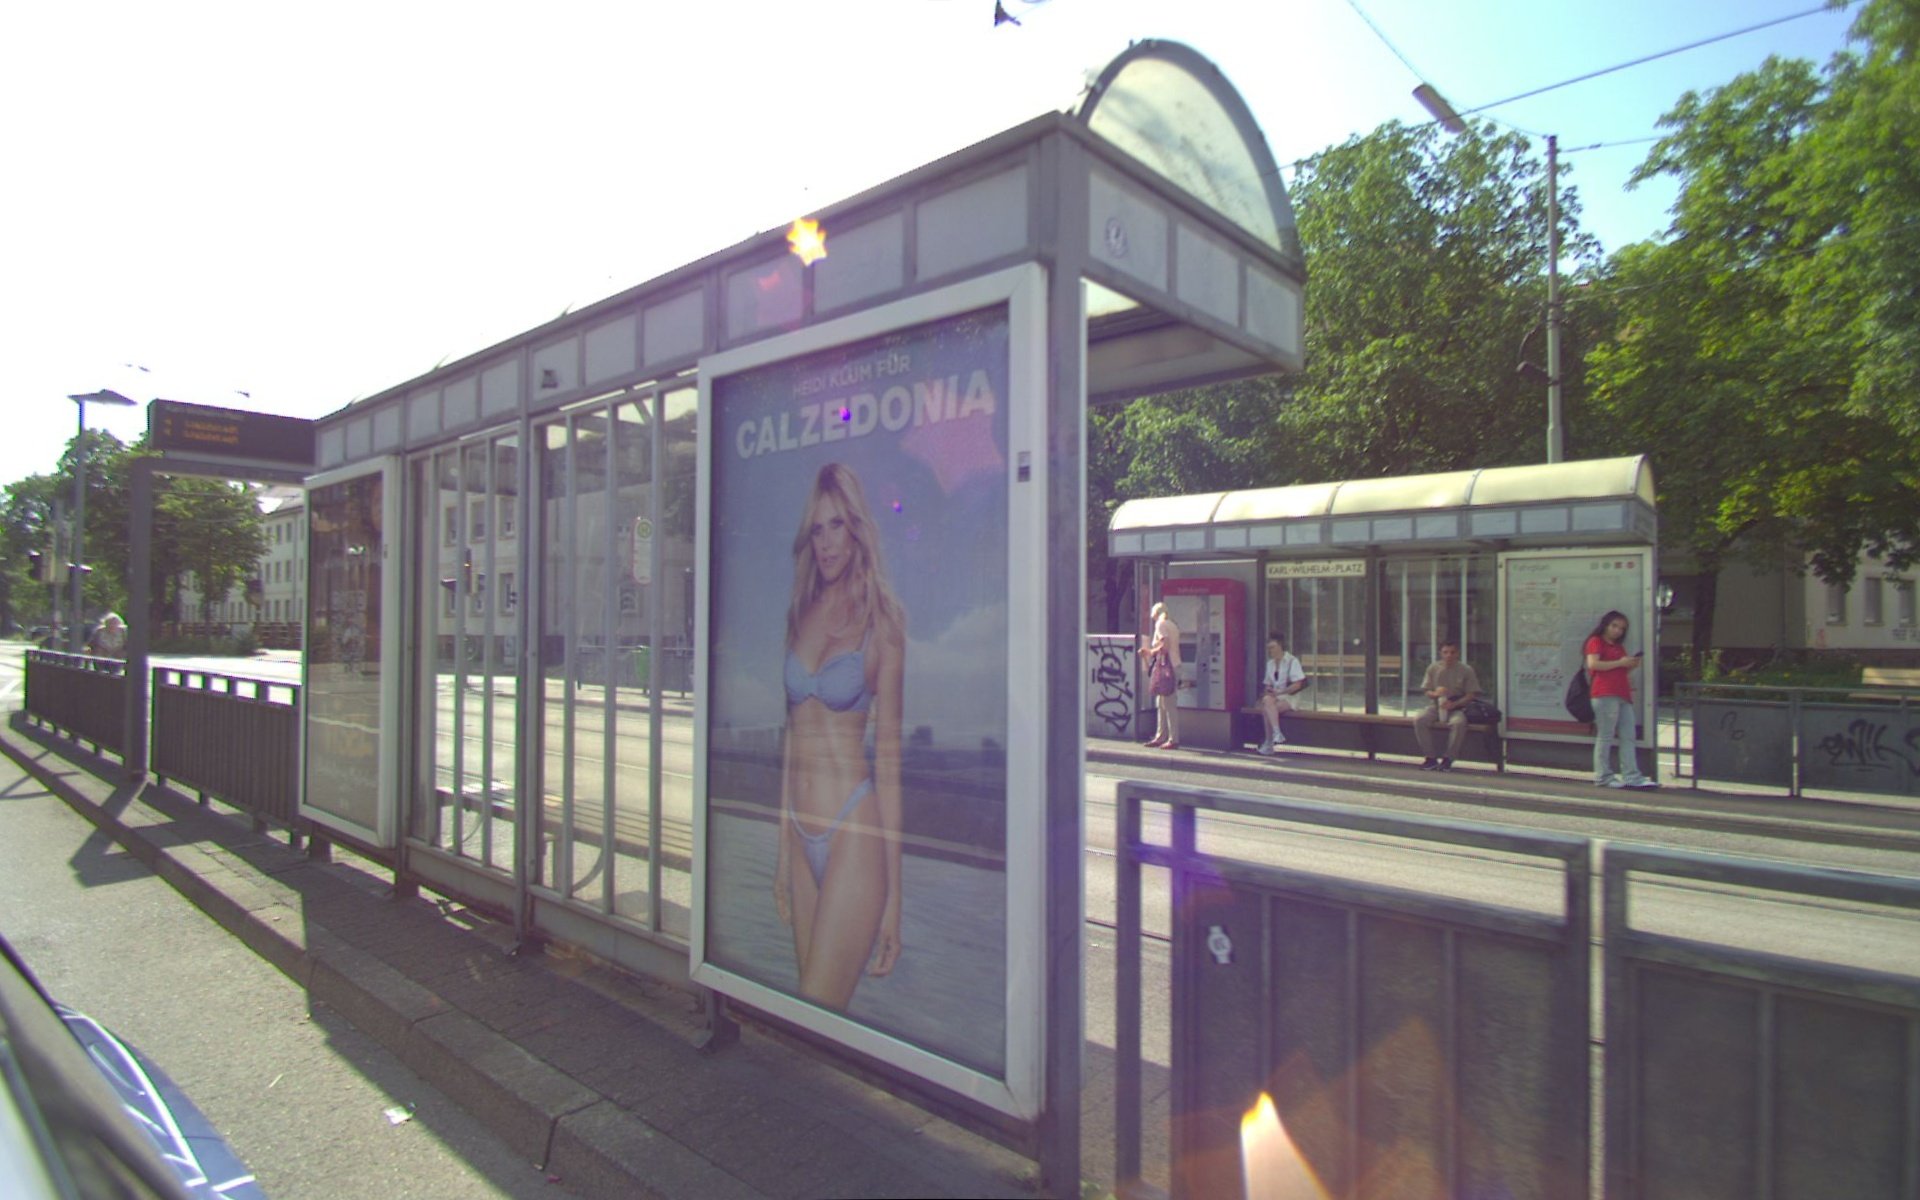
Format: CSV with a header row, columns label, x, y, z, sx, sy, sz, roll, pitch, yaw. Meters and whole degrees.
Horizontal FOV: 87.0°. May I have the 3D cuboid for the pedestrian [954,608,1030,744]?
label,x,y,z,sx,sy,sz,roll,pitch,yaw
pedestrian,0.400,0.931,12.523,0.637,1.619,0.650,0,-4,36

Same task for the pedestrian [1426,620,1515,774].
label,x,y,z,sx,sy,sz,roll,pitch,yaw
pedestrian,5.114,0.947,10.142,0.691,1.468,0.523,-1,-4,40

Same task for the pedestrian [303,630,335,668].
label,x,y,z,sx,sy,sz,roll,pitch,yaw
pedestrian,-25.076,1.903,39.610,0.805,1.485,0.795,-1,-3,37

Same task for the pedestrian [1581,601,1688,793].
label,x,y,z,sx,sy,sz,roll,pitch,yaw
pedestrian,6.143,0.844,9.221,0.745,1.669,0.467,-1,0,41

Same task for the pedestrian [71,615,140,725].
label,x,y,z,sx,sy,sz,roll,pitch,yaw
pedestrian,-12.397,0.991,14.687,0.557,1.544,0.693,-1,0,41

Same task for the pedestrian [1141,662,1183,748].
label,x,y,z,sx,sy,sz,roll,pitch,yaw
pedestrian,2.292,1.179,11.475,0.345,0.937,0.336,0,-4,36

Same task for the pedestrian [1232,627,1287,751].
label,x,y,z,sx,sy,sz,roll,pitch,yaw
pedestrian,3.409,1.001,11.508,0.405,1.347,0.598,0,-4,35

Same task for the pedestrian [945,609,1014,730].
label,x,y,z,sx,sy,sz,roll,pitch,yaw
pedestrian,0.279,0.974,14.250,0.638,1.654,0.649,-1,-5,41

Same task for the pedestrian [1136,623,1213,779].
label,x,y,z,sx,sy,sz,roll,pitch,yaw
pedestrian,2.412,1.115,11.385,0.677,1.682,0.492,0,-4,36

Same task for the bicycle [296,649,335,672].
label,x,y,z,sx,sy,sz,roll,pitch,yaw
bicycle,-25.086,2.358,39.398,1.616,0.855,0.746,-1,-3,37
